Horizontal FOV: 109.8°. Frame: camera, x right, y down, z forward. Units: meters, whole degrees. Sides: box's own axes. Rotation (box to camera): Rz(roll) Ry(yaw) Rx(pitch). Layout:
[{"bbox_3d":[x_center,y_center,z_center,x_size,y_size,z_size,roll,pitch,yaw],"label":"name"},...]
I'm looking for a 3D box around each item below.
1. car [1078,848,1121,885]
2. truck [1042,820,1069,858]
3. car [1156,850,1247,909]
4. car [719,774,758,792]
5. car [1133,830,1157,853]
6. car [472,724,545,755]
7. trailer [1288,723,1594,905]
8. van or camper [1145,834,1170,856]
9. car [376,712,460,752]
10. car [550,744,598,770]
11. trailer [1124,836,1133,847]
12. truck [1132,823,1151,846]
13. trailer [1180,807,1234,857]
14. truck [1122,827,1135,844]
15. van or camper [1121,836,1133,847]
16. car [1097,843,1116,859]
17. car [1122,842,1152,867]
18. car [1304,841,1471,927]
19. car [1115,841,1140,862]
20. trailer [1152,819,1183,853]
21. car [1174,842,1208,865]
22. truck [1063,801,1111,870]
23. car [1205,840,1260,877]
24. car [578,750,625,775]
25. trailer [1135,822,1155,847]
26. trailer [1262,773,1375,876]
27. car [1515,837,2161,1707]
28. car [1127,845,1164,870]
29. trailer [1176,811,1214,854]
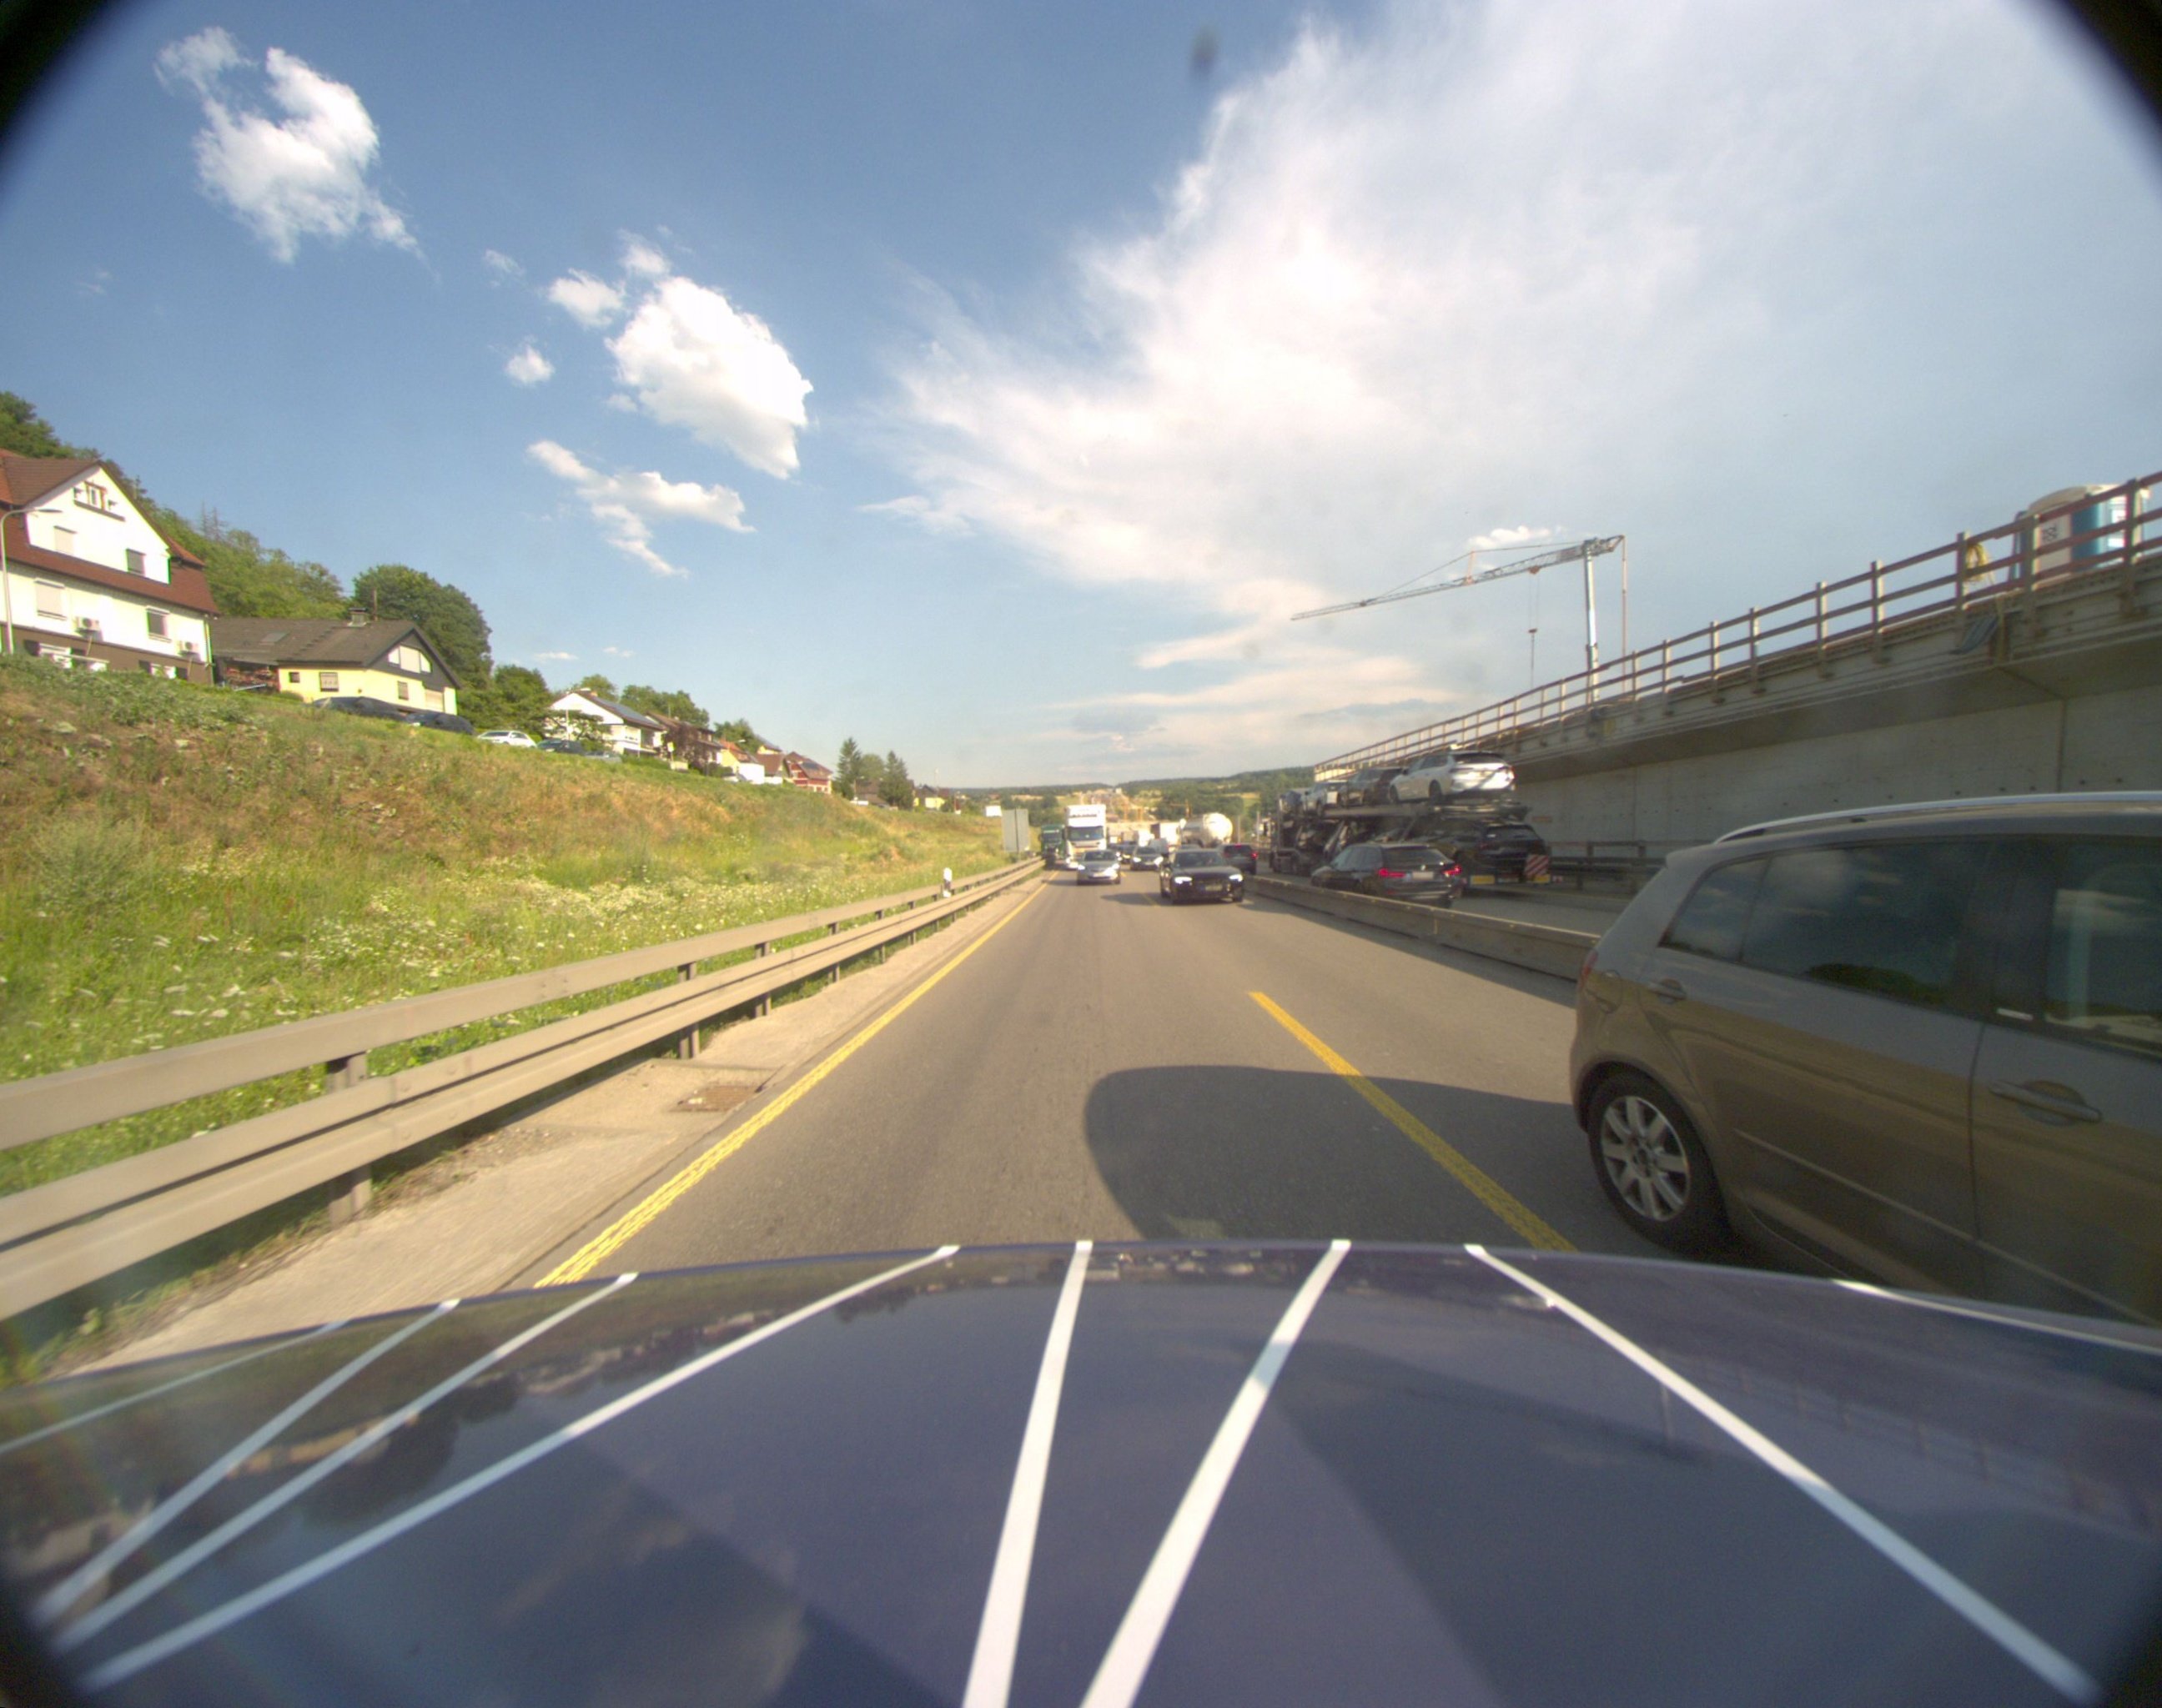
[{"bbox_3d":[0.766,0.479,31.986,1.671,1.425,3.523,-1,1,1],"label":"car"},{"bbox_3d":[-2.788,-1.731,84.874,2.547,3.993,6.070,-2,1,1],"label":"truck"},{"bbox_3d":[3.257,0.633,21.364,1.873,1.411,4.348,-1,1,1],"label":"car"},{"bbox_3d":[-34.366,-7.098,76.308,1.998,1.434,3.999,-2,1,1],"label":"car"},{"bbox_3d":[7.550,-1.526,90.491,1.999,2.608,7.407,-2,1,-1],"label":"car"},{"bbox_3d":[-32.206,-6.413,42.870,1.347,1.225,3.898,-2,1,-4],"label":"car"},{"bbox_3d":[10.316,-1.064,25.095,2.778,4.008,15.760,-2,1,1],"label":"trailer"},{"bbox_3d":[7.472,-0.890,74.820,1.863,2.002,5.294,-2,1,-1],"label":"van or camper"},{"bbox_3d":[-31.428,-5.763,36.139,1.362,1.450,3.229,-2,1,-8],"label":"car"},{"bbox_3d":[-32.538,-6.204,48.852,1.348,1.315,3.340,-3,1,-11],"label":"car"},{"bbox_3d":[8.333,-2.135,133.746,1.452,1.843,2.983,-2,1,1],"label":"trailer"},{"bbox_3d":[11.537,-3.684,145.049,2.834,4.239,10.070,-2,1,1],"label":"truck"},{"bbox_3d":[10.828,-1.887,66.740,2.659,3.828,13.440,-2,1,1],"label":"trailer"},{"bbox_3d":[11.732,-4.698,188.821,2.873,4.038,7.597,-2,1,1],"label":"truck"},{"bbox_3d":[8.391,-2.224,137.756,1.868,1.882,5.002,-2,1,1],"label":"van or camper"},{"bbox_3d":[2.800,-0.316,84.173,1.918,1.746,3.999,-1,0,0],"label":"car"},{"bbox_3d":[4.256,0.019,58.050,1.998,1.740,3.999,-1,1,0],"label":"car"},{"bbox_3d":[6.524,0.529,16.831,1.770,1.543,4.835,-2,1,1],"label":"car"},{"bbox_3d":[4.114,-0.231,67.318,1.918,1.746,3.999,-1,0,0],"label":"car"},{"bbox_3d":[11.333,-2.392,100.948,2.932,4.014,13.773,-2,1,2],"label":"trailer"},{"bbox_3d":[7.567,-0.062,52.670,1.713,1.437,4.599,-2,1,1],"label":"car"},{"bbox_3d":[0.482,-1.236,51.461,2.741,4.034,12.668,-2,1,1],"label":"truck"},{"bbox_3d":[7.162,0.176,36.316,1.761,1.569,4.338,-2,1,1],"label":"car"},{"bbox_3d":[-33.536,-6.372,53.191,1.451,1.364,3.554,-2,1,-9],"label":"car"},{"bbox_3d":[11.385,-3.460,135.649,2.834,4.259,8.733,-2,1,1],"label":"trailer"},{"bbox_3d":[10.381,-1.260,34.056,2.778,4.008,7.206,-2,1,1],"label":"trailer"},{"bbox_3d":[2.793,0.794,1.304,1.685,1.579,4.270,-1,2,0],"label":"car"},{"bbox_3d":[3.717,0.159,44.237,1.692,1.294,3.882,-2,1,-1],"label":"car"},{"bbox_3d":[10.871,-2.023,73.005,2.659,3.828,6.428,-2,1,1],"label":"trailer"}]
